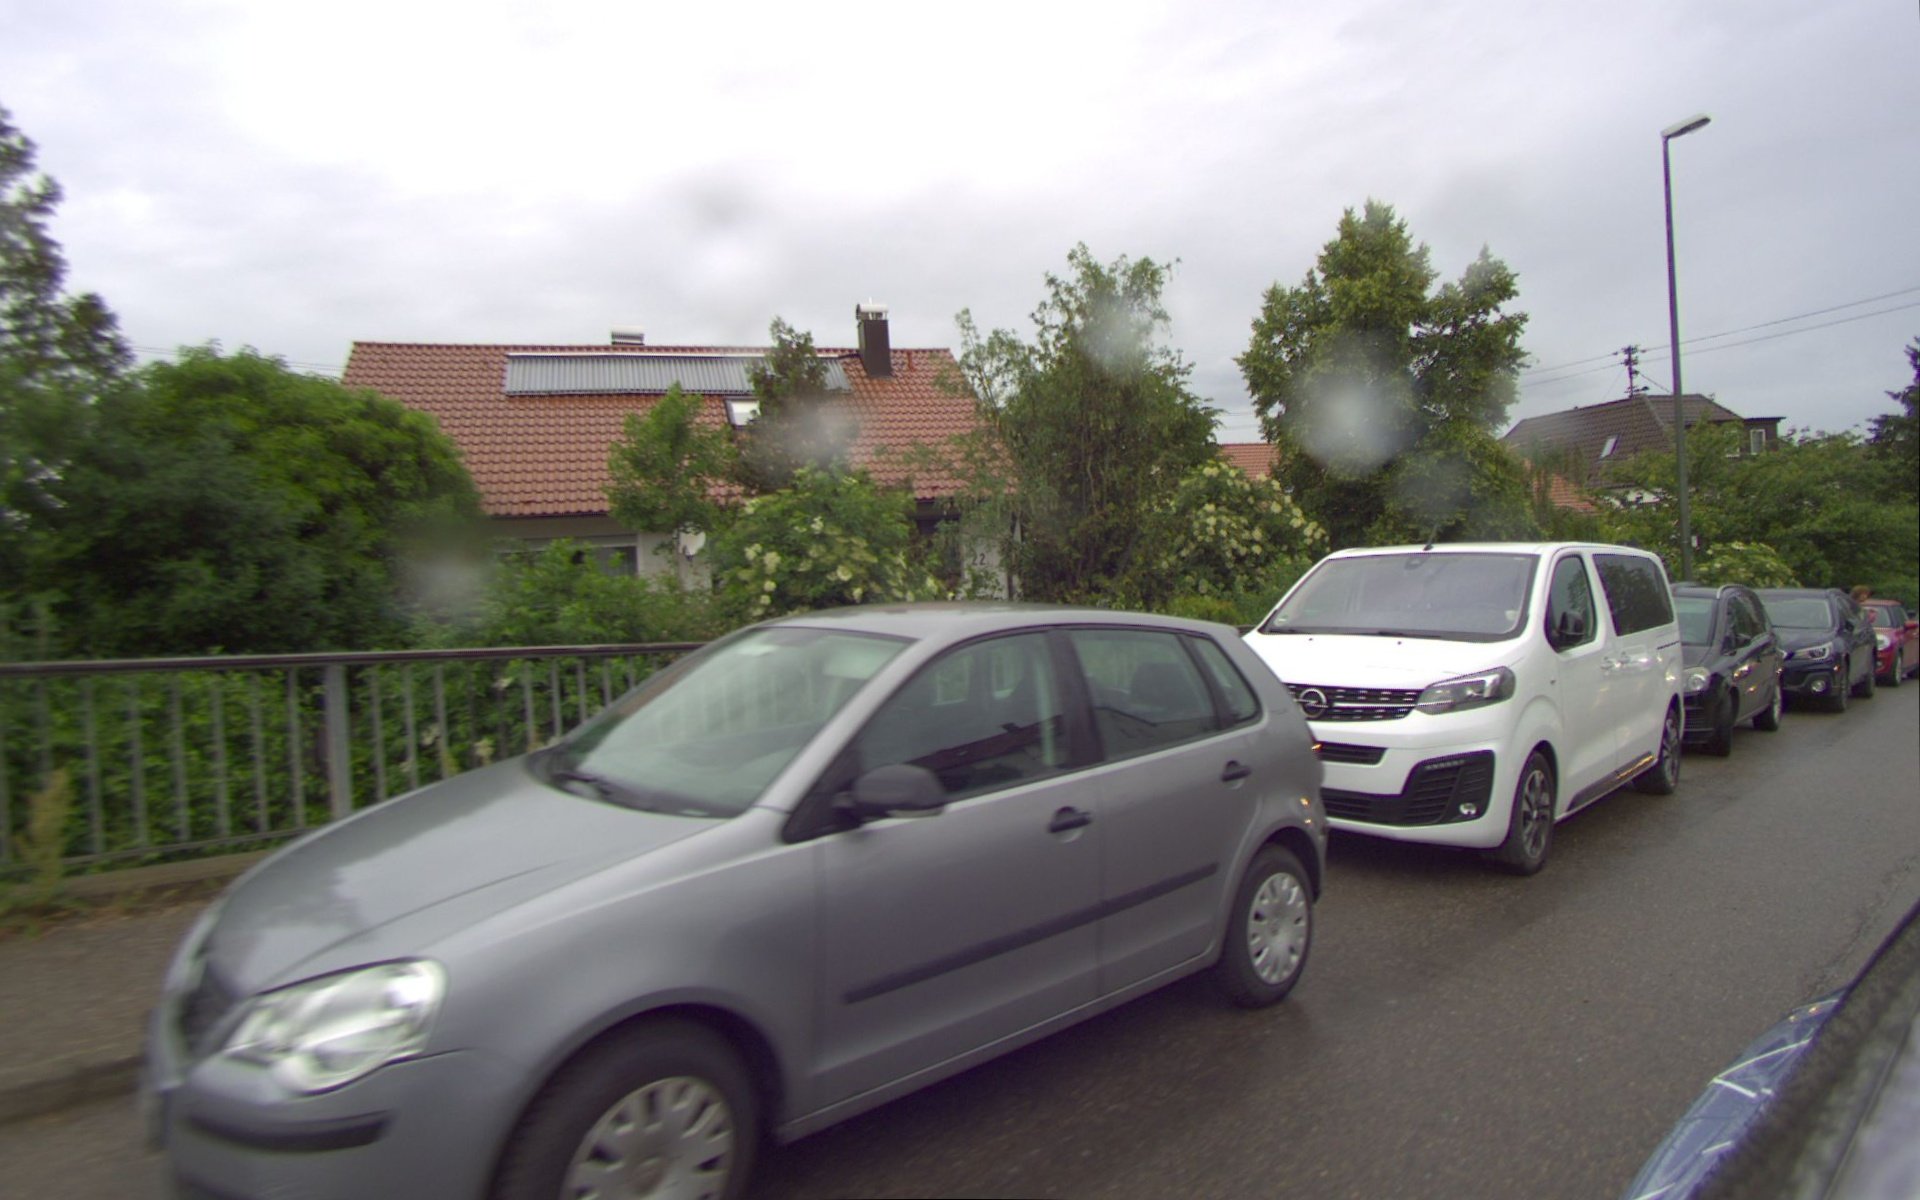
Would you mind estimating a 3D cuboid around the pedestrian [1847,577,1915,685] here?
[{"bbox_3d":[14.577,0.466,16.019,0.694,1.656,0.718,0,0,-40],"label":"pedestrian"}]

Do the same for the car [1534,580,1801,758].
[{"bbox_3d":[7.799,0.566,10.980,4.283,1.560,1.645,-1,1,-45],"label":"car"}]

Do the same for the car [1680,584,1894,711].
[{"bbox_3d":[11.957,0.544,14.510,4.646,1.525,1.817,-1,1,-44],"label":"car"}]

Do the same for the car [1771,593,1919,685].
[{"bbox_3d":[16.101,0.612,18.116,3.783,1.432,1.739,-1,1,-39],"label":"car"}]

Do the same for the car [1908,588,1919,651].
[{"bbox_3d":[25.020,0.457,24.782,4.698,1.477,1.798,0,1,-36],"label":"car"}]

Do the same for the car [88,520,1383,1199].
[{"bbox_3d":[-0.327,0.639,3.395,3.893,1.583,1.651,-1,1,-40],"label":"car"}]

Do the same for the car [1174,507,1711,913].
[{"bbox_3d":[3.656,0.474,7.109,4.830,1.905,1.850,-1,1,-44],"label":"car"}]
